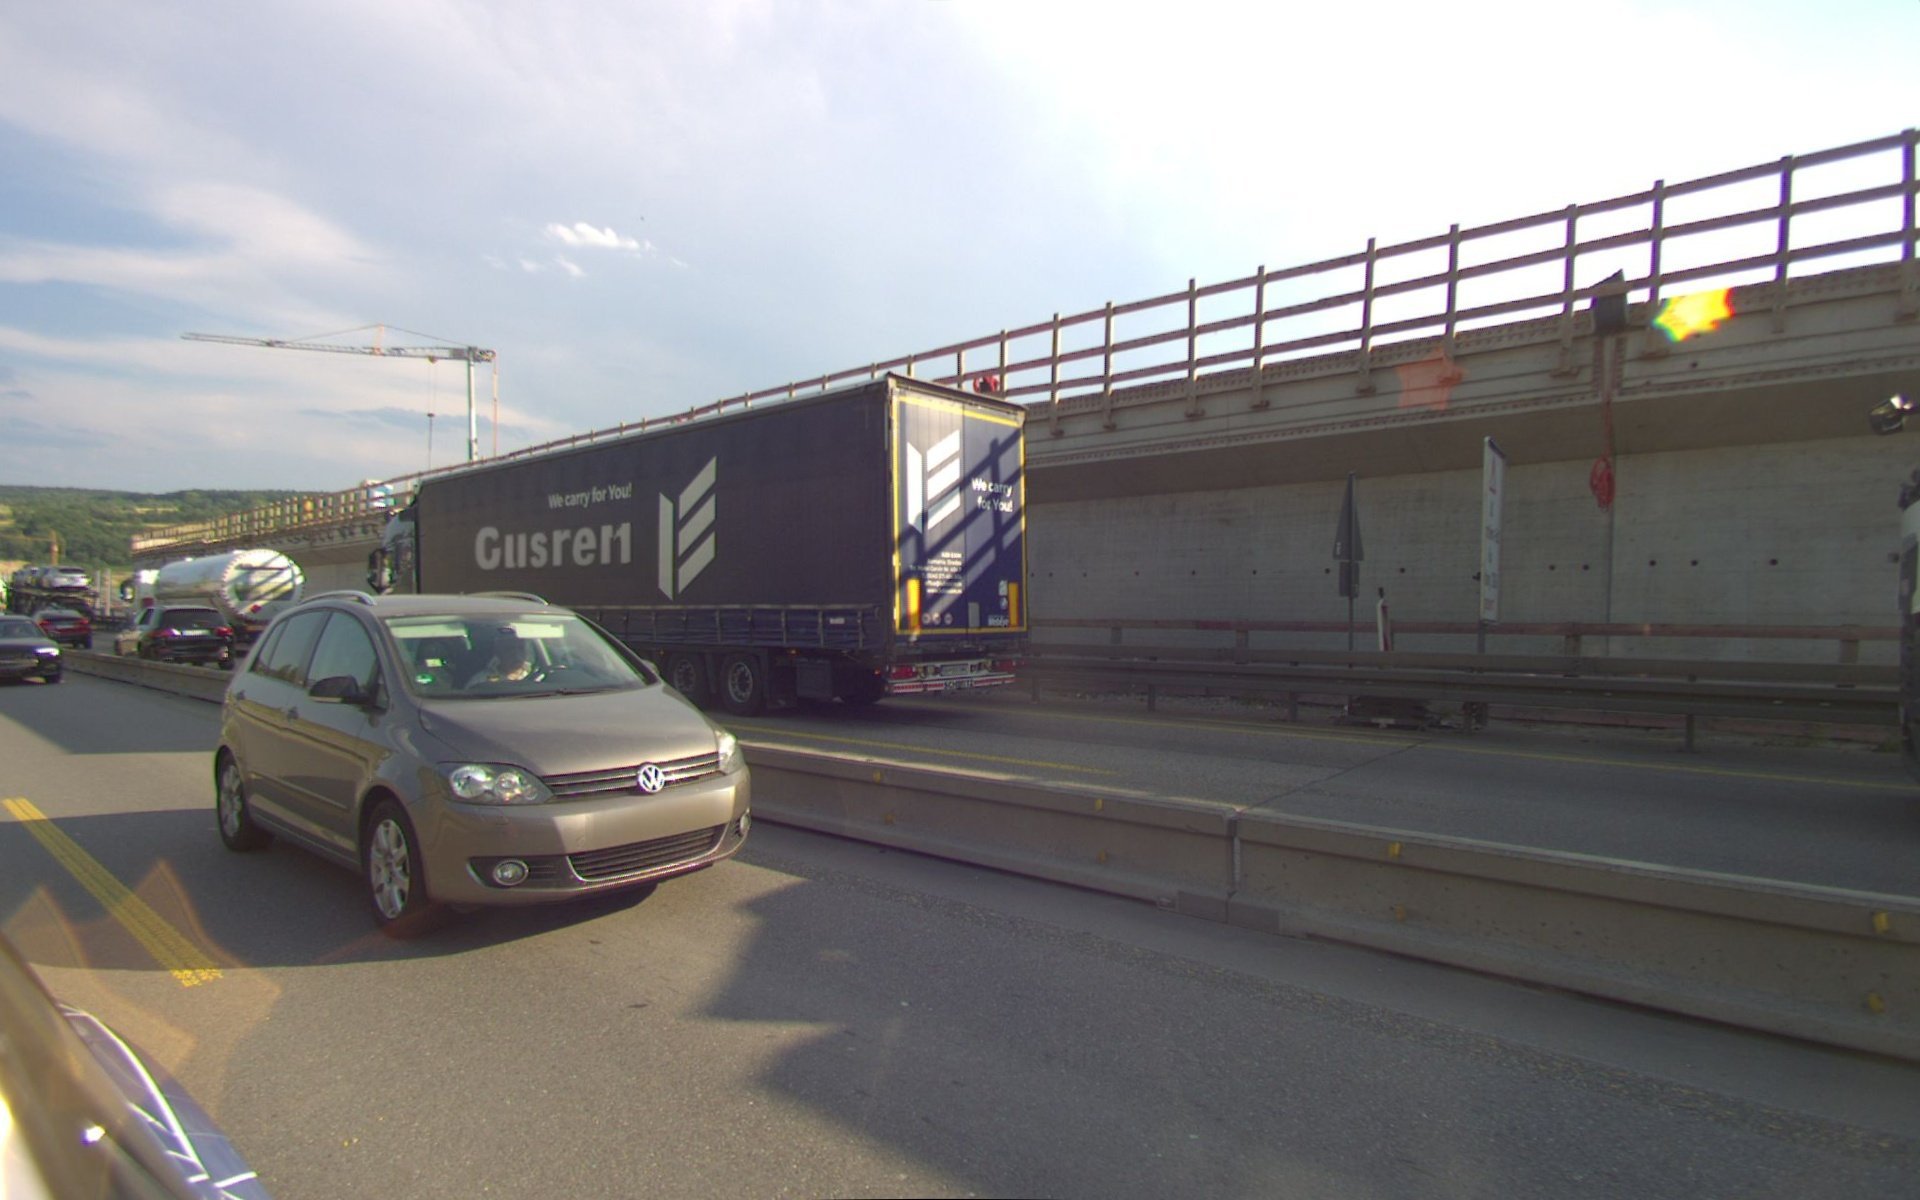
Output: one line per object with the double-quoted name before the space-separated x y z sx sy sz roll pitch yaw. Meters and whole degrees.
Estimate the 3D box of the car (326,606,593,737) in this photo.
"car" -6.916 0.836 13.755 4.594 1.470 1.624 0 0 41

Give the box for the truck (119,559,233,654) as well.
"truck" -30.680 0.235 39.547 5.528 3.435 2.522 0 0 41

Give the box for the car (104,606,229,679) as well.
"car" -20.101 0.995 25.576 4.686 1.657 1.624 0 0 41

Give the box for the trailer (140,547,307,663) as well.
"trailer" -26.055 0.140 35.489 10.678 3.553 2.530 0 0 42

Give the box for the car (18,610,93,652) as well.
"car" -36.101 1.226 40.359 4.294 1.569 1.707 -1 -1 41

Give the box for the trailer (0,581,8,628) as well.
"trailer" -85.299 0.395 87.747 13.435 3.879 2.625 0 0 41

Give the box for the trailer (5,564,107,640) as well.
"trailer" -54.091 0.093 60.308 15.758 4.061 2.742 0 0 42

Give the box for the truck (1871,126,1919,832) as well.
"truck" 8.458 -0.695 5.094 5.655 4.038 2.831 0 0 41

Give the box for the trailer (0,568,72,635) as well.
"trailer" -59.677 0.084 65.259 7.205 4.061 2.742 0 0 42

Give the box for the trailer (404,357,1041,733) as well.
"trailer" -5.110 -0.476 16.897 14.019 4.173 2.736 -2 -1 41

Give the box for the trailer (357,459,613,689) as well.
"trailer" -10.147 -0.426 21.353 5.973 4.173 2.736 -2 -1 41

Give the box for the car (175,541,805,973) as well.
"car" -2.929 0.670 5.815 4.269 1.601 1.663 -2 -4 41

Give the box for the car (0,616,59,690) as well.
"car" -20.854 1.081 21.642 4.347 1.430 1.849 0 -1 41
